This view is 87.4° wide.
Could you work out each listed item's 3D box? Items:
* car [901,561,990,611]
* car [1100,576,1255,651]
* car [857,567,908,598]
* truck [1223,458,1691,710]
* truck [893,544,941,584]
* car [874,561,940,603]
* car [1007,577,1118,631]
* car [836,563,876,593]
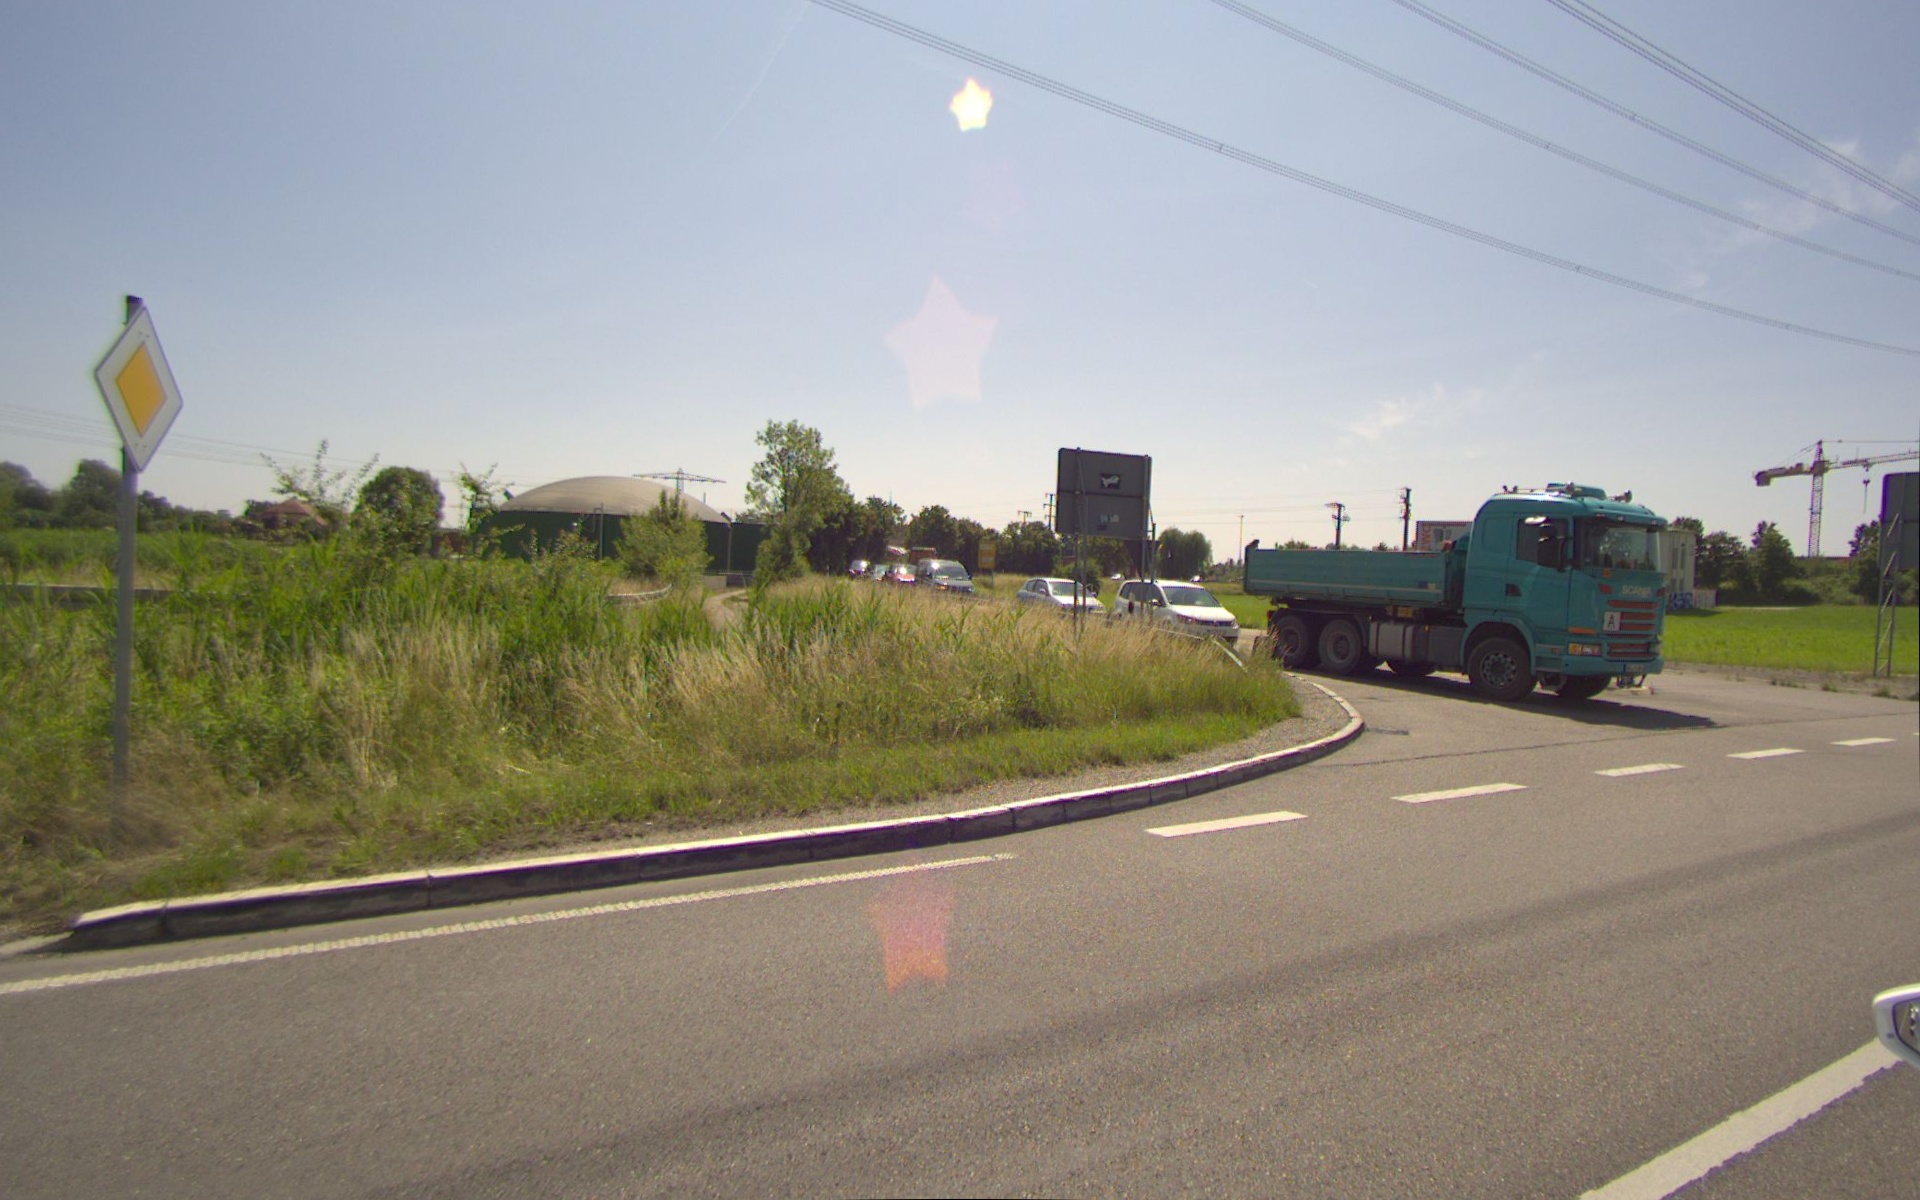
[{"bbox_3d":[-0.698,-0.621,41.546,2.058,1.893,4.926,0,2,-22],"label":"car"},{"bbox_3d":[5.402,0.282,25.645,1.936,1.634,4.540,2,2,-16],"label":"car"},{"bbox_3d":[-4.184,-0.946,53.732,1.754,1.498,3.981,2,2,-19],"label":"car"},{"bbox_3d":[8.775,-0.411,19.137,2.467,3.785,7.871,2,2,-28],"label":"truck"},{"bbox_3d":[-3.820,-3.184,90.998,2.772,3.332,9.705,1,1,7],"label":"truck"},{"bbox_3d":[-2.595,-0.890,48.006,1.886,1.874,4.462,2,2,-19],"label":"car"},{"bbox_3d":[3.096,0.075,31.399,1.692,1.490,4.426,2,1,-19],"label":"car"},{"bbox_3d":[-6.266,-1.311,60.154,1.965,1.691,3.990,2,0,-12],"label":"car"}]
